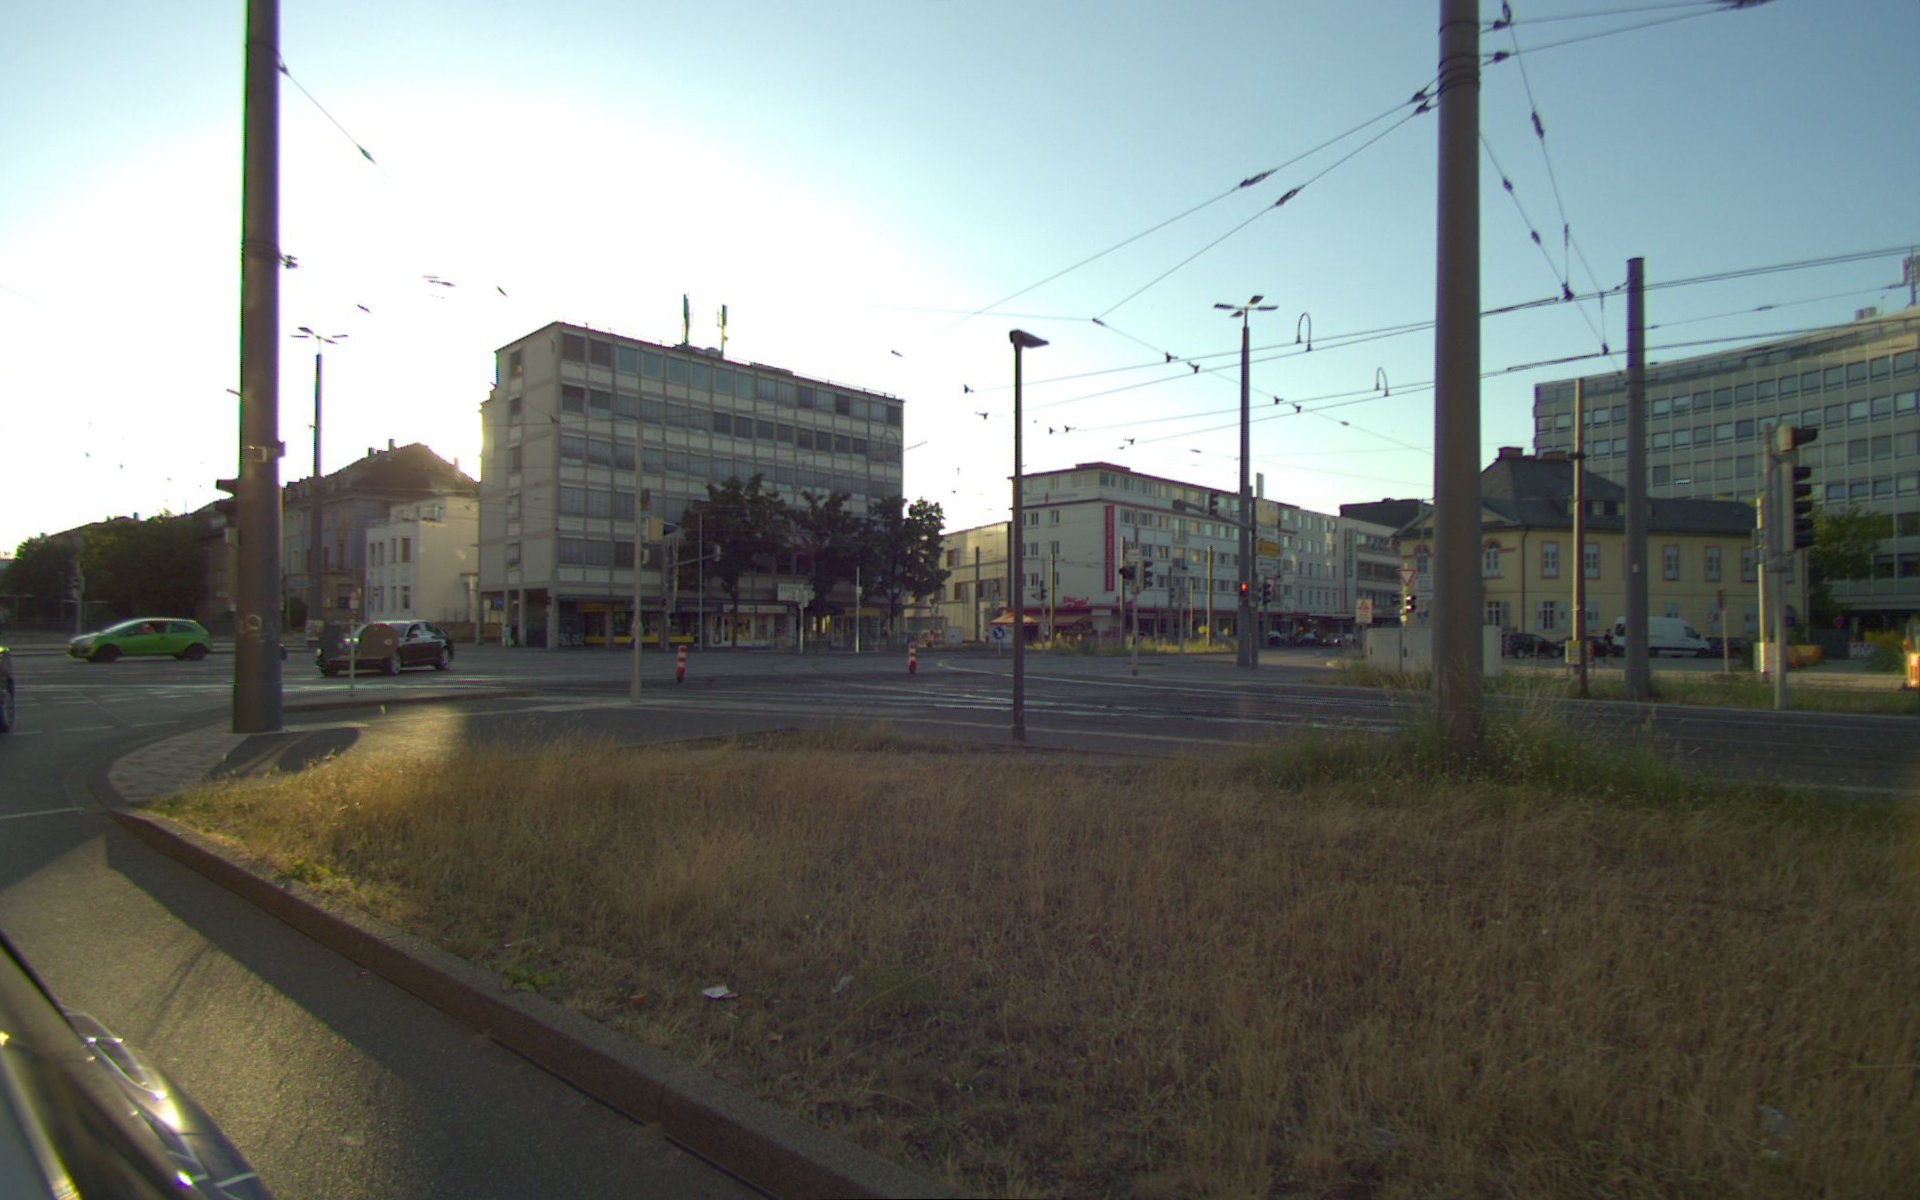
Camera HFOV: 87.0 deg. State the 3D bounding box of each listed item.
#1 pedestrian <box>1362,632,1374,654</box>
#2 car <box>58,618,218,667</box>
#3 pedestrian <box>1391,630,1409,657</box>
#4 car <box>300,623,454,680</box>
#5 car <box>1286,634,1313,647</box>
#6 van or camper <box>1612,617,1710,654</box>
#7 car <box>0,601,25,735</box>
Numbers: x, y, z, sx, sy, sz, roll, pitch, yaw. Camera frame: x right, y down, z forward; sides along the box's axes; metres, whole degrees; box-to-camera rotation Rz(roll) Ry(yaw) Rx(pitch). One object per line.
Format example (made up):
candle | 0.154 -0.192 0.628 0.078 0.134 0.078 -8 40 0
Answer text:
pedestrian | 29.081 3.074 72.104 0.645 1.521 0.591 4 -4 -45
car | -28.532 1.469 35.230 1.745 1.578 3.975 -1 -3 35
pedestrian | 22.802 2.254 52.437 0.581 1.351 0.656 0 0 -7
car | -15.555 1.352 27.275 1.825 1.419 4.227 0 -2 -2
car | 35.407 4.192 105.394 1.565 1.286 3.378 -2 -3 40
van or camper | 44.031 2.240 63.628 5.034 2.319 2.004 0 -2 -9
car | -11.862 0.781 10.918 1.771 1.631 4.399 2 -3 -32
